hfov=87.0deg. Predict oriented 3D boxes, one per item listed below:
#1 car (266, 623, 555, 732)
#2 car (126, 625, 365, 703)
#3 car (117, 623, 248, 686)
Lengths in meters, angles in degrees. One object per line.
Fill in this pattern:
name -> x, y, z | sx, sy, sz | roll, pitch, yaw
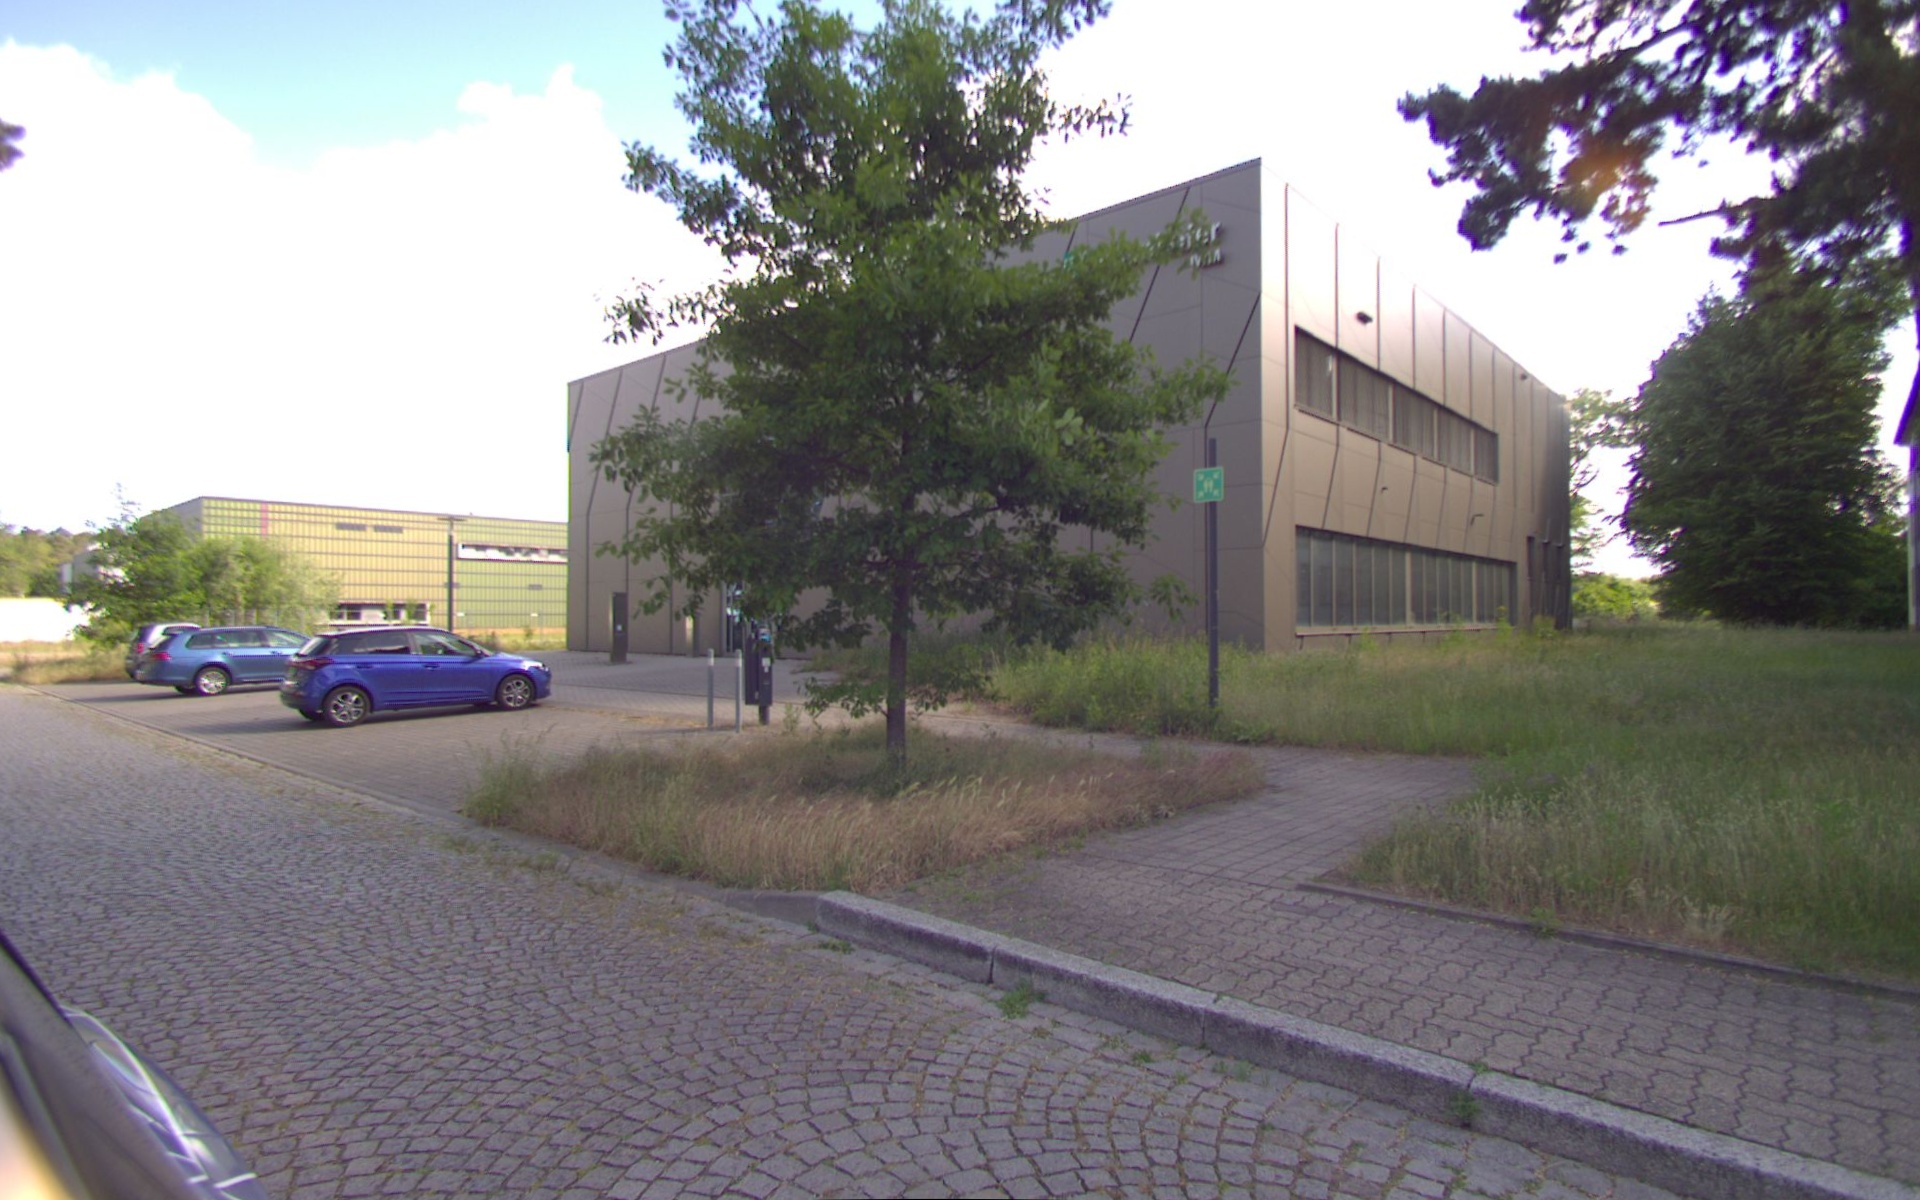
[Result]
car -> -8.983, 1.175, 16.760 | 1.735, 1.479, 3.865 | -2, 0, 44
car -> -16.101, 1.363, 22.977 | 1.733, 1.485, 4.127 | -2, 0, 39
car -> -21.497, 1.465, 28.027 | 1.480, 1.580, 2.619 | -2, 0, 40
